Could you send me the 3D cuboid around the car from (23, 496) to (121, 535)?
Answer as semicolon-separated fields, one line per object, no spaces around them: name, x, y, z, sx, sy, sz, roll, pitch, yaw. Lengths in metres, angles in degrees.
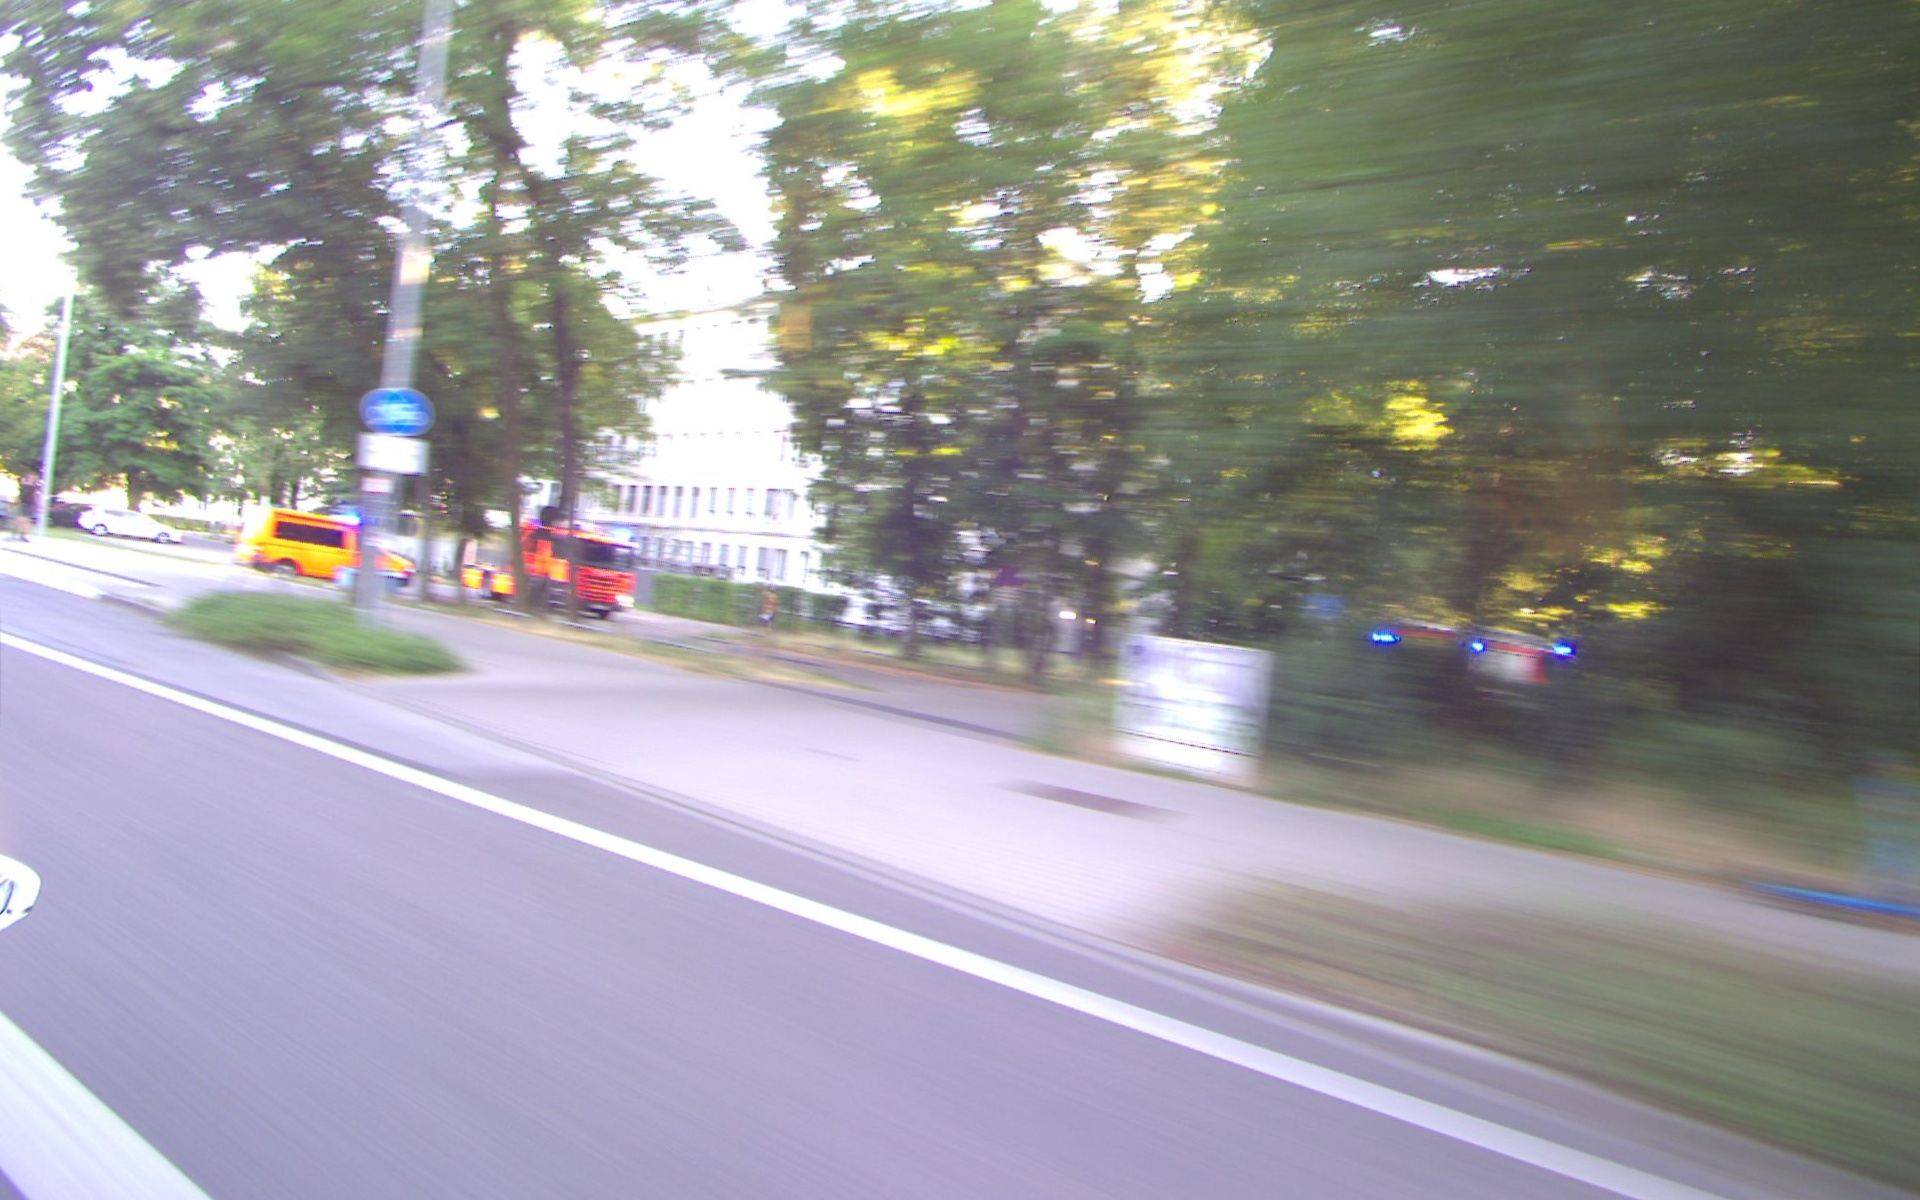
car;-51.573;-4.892;58.471;1.760;1.580;3.983;7;-1;41

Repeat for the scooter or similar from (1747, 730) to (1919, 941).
scooter or similar;6.618;1.705;7.306;1.209;1.298;0.483;7;2;26

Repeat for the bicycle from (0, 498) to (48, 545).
bicycle;-25.684;-2.163;27.312;1.936;1.112;0.831;7;1;32

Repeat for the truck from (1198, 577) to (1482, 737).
truck;10.091;1.622;26.104;8.599;3.250;2.731;8;0;-40

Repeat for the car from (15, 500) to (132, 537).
car;-49.376;-4.516;56.124;1.872;1.467;4.566;5;-1;37

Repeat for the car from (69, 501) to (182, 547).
car;-41.902;-3.797;50.576;1.883;1.555;3.988;7;-2;38

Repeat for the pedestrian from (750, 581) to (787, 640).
pedestrian;-7.001;0.382;36.852;0.770;2.037;0.762;7;-1;32

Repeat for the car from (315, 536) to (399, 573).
car;-36.325;-2.753;60.653;3.975;1.569;1.935;9;-2;-42

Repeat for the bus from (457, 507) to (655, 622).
bus;-14.336;-1.336;35.338;7.854;3.233;2.985;6;-2;42

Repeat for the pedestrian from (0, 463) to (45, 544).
pedestrian;-25.465;-2.599;27.191;0.684;2.037;0.724;7;-1;31

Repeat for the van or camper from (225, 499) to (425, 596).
van or camper;-20.170;-1.620;32.107;2.264;2.270;4.808;6;-2;42
